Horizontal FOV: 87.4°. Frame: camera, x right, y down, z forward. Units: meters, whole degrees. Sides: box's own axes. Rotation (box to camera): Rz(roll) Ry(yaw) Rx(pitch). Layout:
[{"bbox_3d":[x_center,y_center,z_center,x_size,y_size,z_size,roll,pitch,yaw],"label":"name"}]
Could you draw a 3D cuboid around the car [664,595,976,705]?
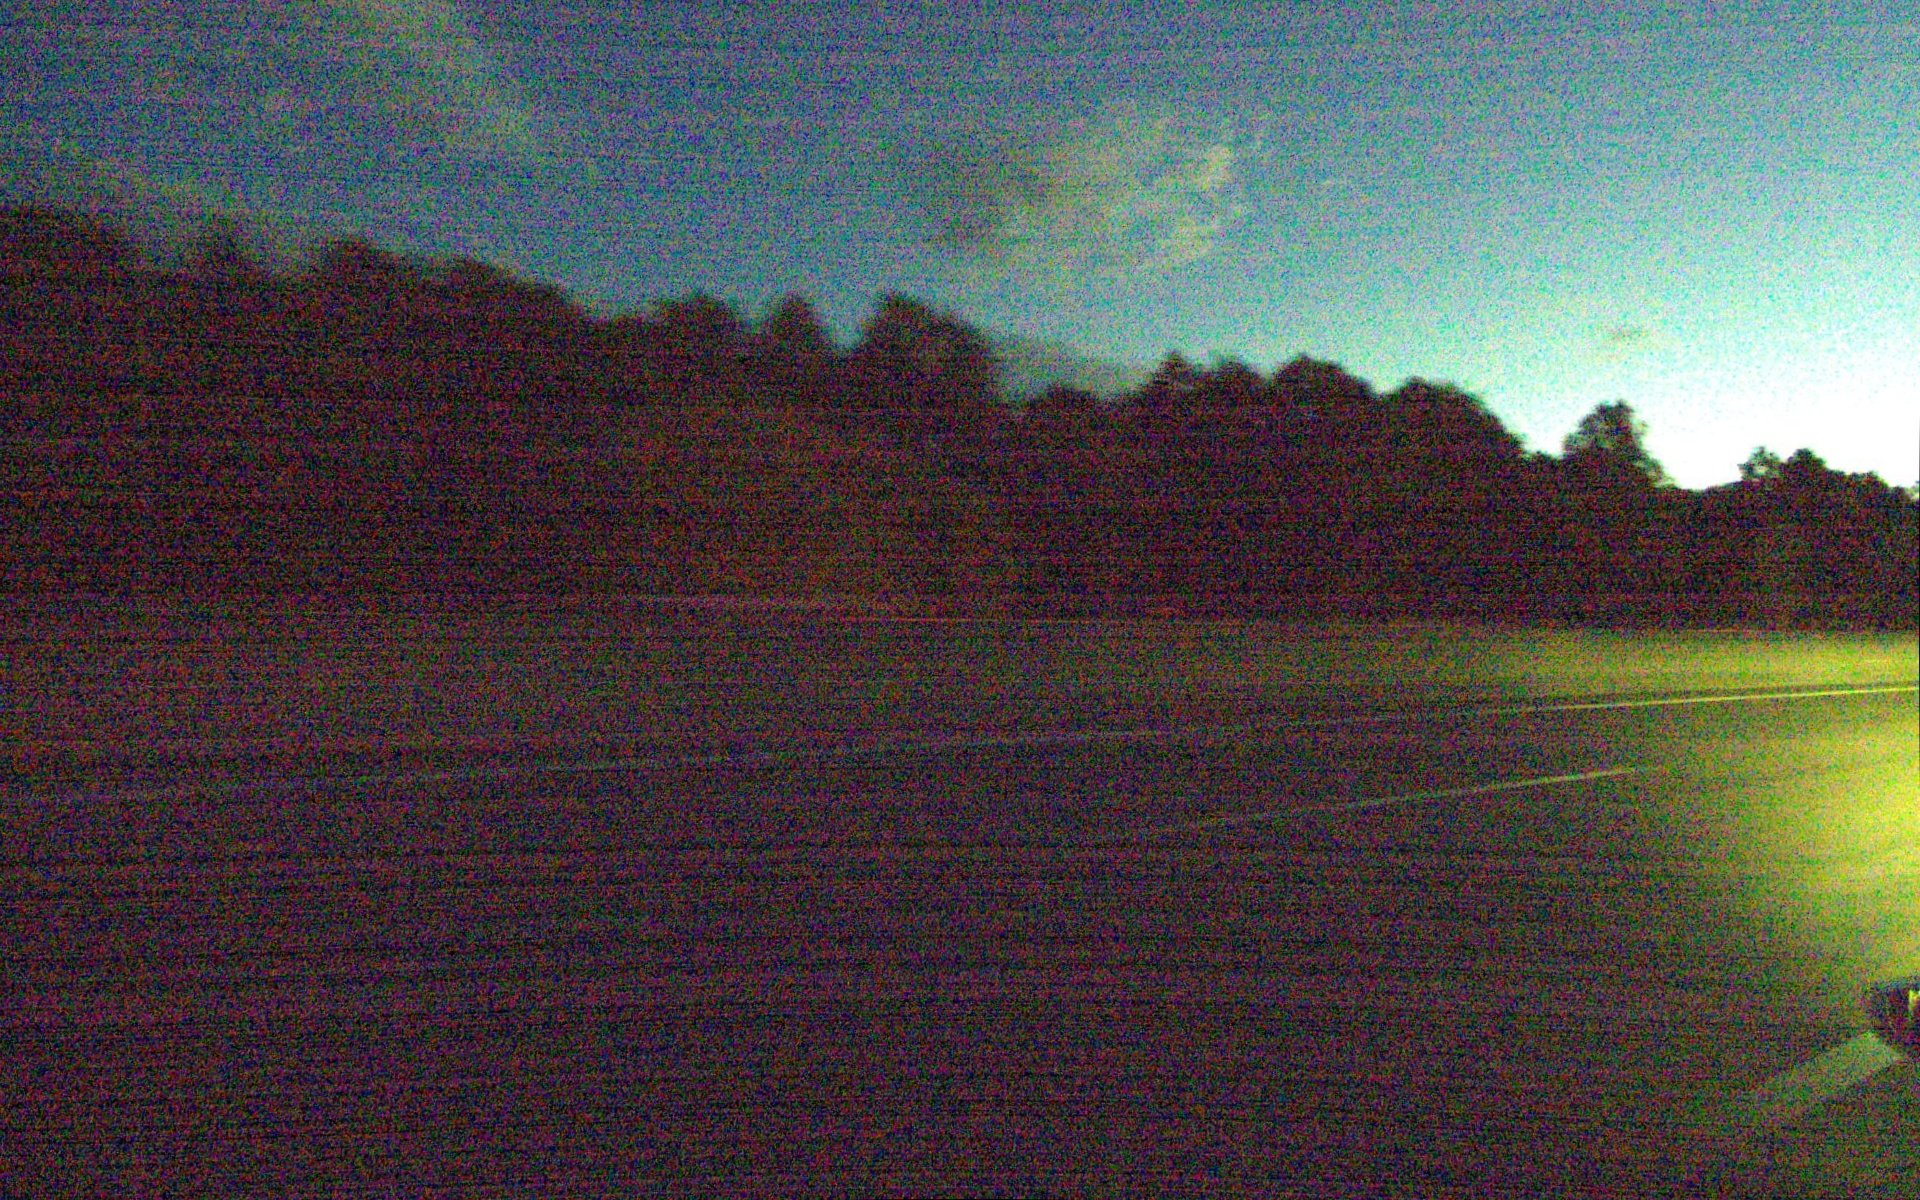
[{"bbox_3d":[-2.118,0.749,15.552,4.350,1.488,1.983,2,-1,-32],"label":"car"}]
